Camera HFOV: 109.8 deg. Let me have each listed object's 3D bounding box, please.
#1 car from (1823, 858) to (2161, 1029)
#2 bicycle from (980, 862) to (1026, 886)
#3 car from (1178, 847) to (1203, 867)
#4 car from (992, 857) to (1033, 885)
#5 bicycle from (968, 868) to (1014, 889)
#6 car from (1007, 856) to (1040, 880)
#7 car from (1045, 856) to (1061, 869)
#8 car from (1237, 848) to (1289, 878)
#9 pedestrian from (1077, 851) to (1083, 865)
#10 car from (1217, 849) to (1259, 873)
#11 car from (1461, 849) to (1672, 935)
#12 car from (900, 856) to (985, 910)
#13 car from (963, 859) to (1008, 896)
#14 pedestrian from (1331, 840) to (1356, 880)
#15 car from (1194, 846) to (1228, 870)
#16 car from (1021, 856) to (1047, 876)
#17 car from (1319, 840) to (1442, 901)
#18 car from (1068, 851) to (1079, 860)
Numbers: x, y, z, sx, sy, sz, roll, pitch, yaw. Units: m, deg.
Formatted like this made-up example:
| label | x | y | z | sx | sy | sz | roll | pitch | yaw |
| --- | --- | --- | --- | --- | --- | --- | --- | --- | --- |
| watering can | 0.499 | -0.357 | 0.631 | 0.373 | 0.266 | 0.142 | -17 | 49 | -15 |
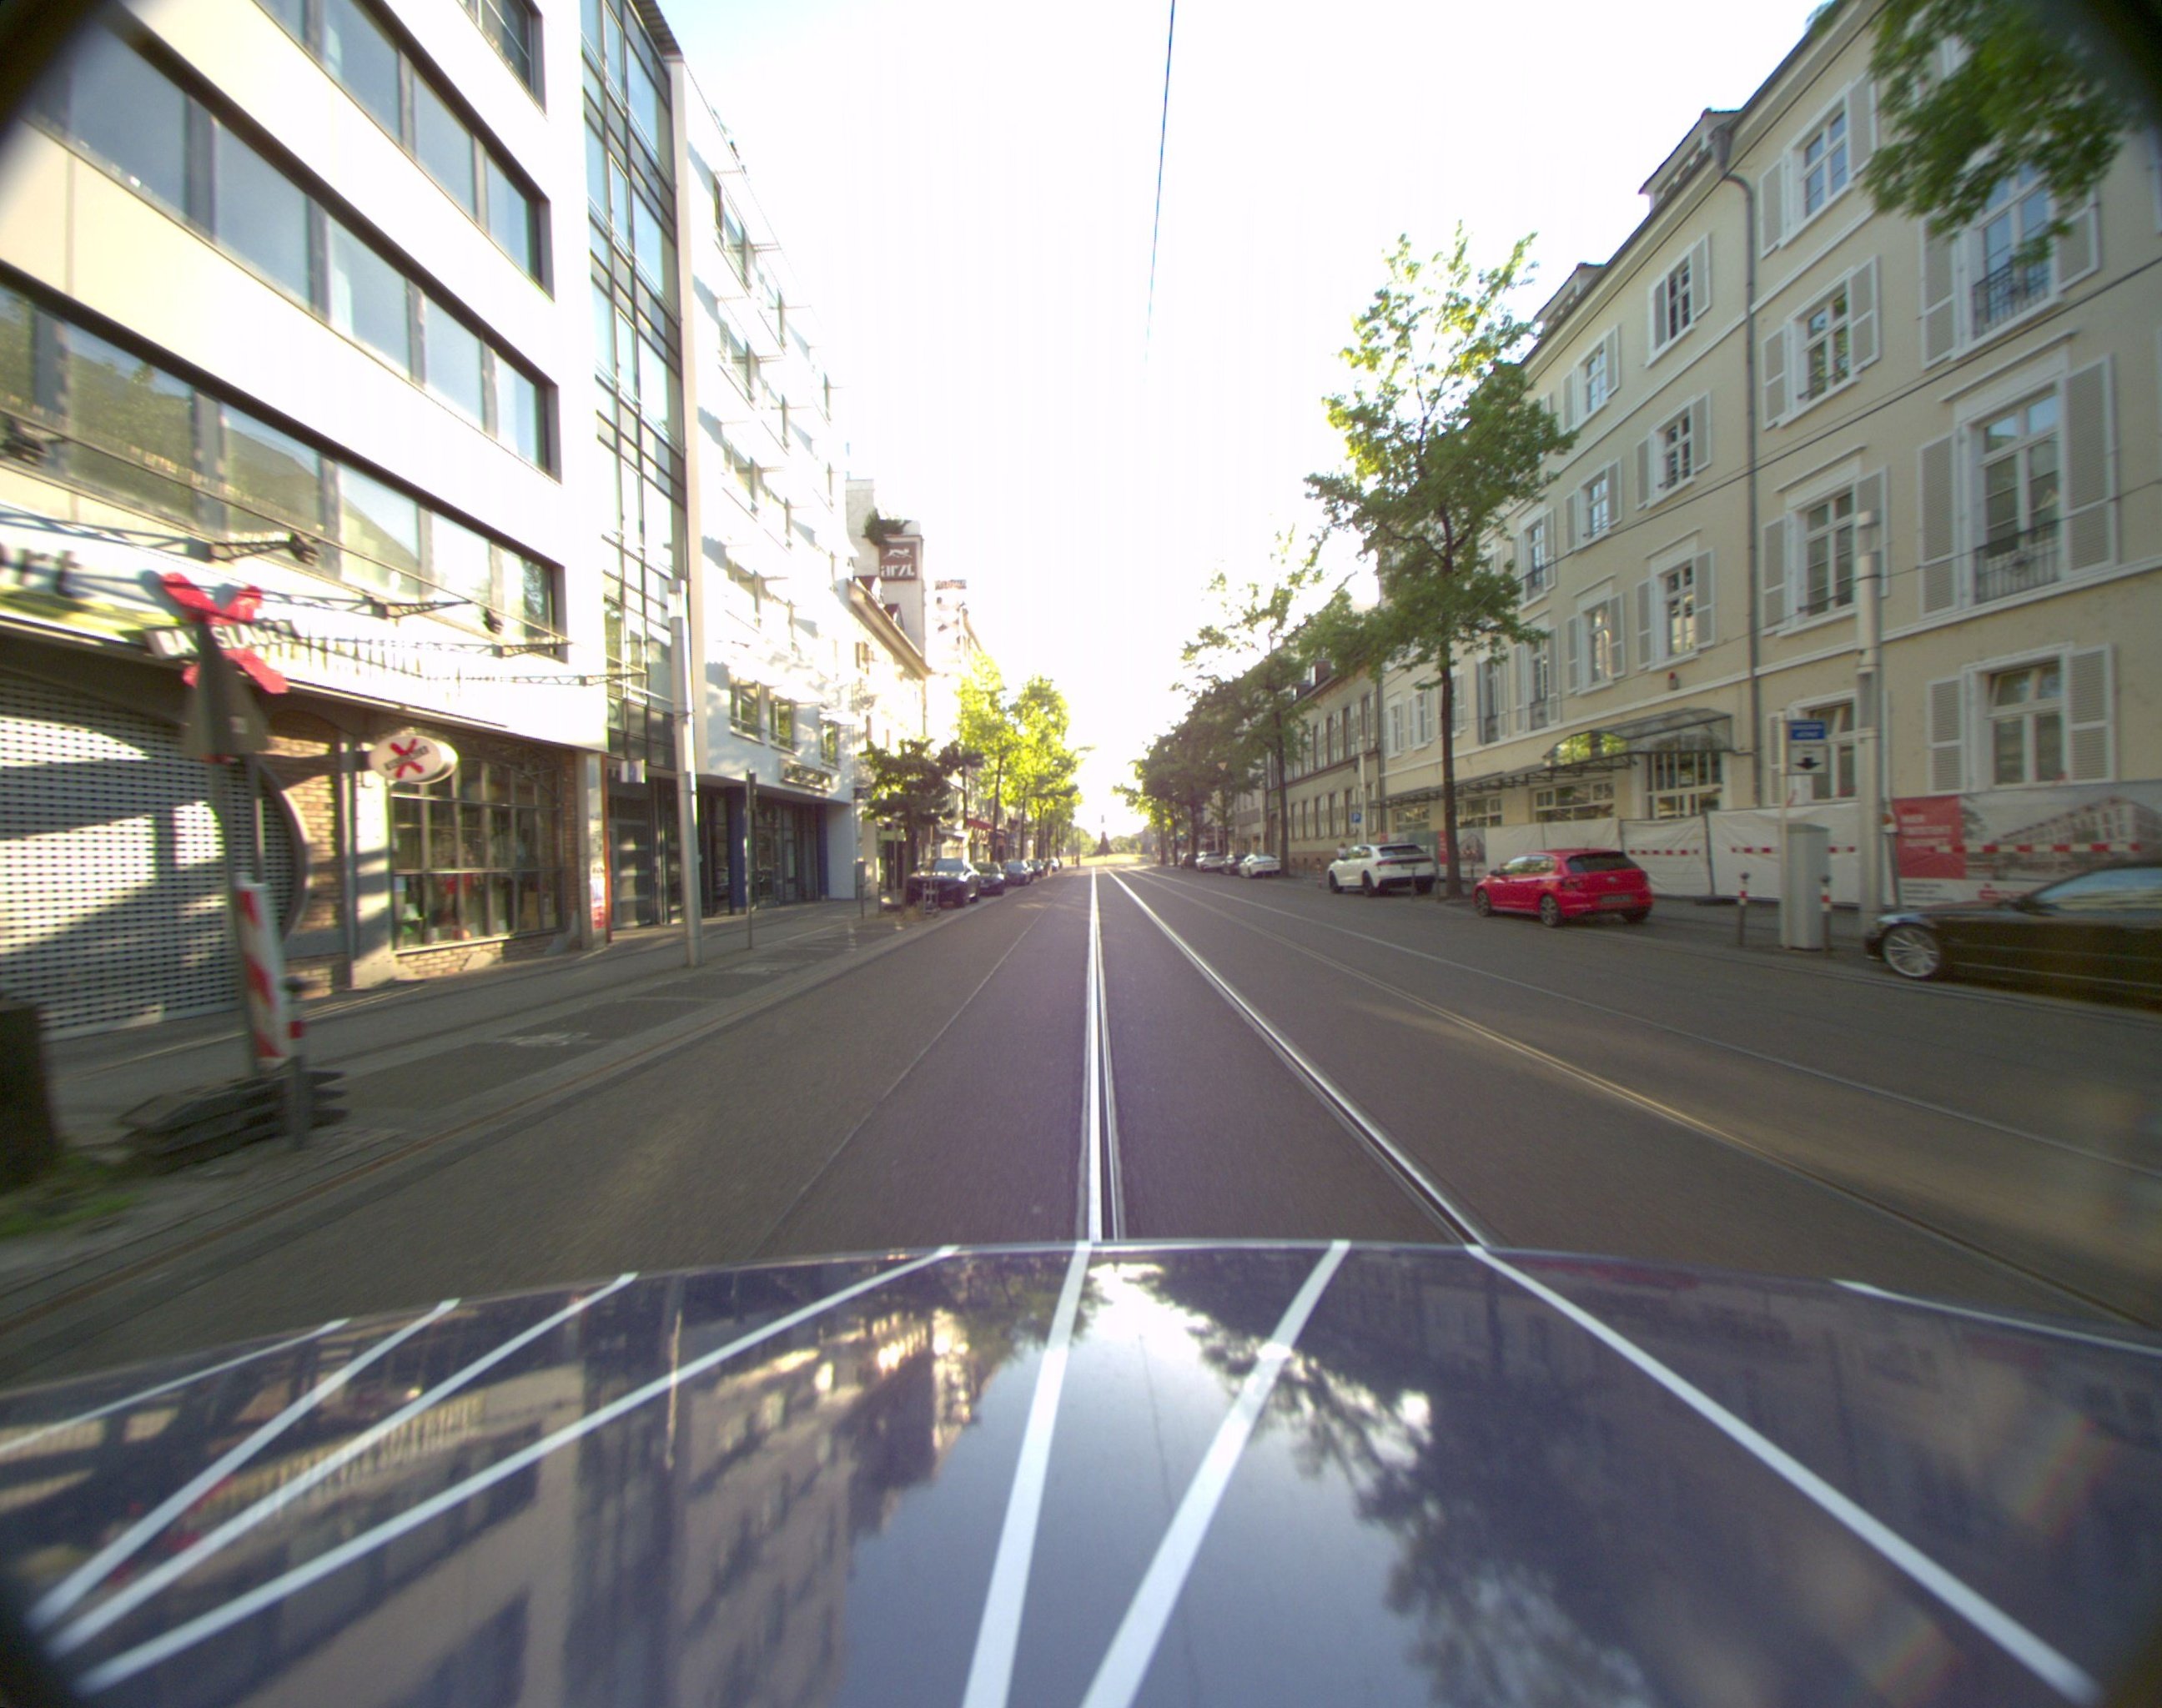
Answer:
| label | x | y | z | sx | sy | sz | roll | pitch | yaw |
| --- | --- | --- | --- | --- | --- | --- | --- | --- | --- |
| car | 9.647 | 0.745 | 6.725 | 1.722 | 1.238 | 4.507 | -5 | 0 | 1 |
| bicycle | -4.216 | 1.088 | 41.006 | 2.325 | 1.181 | 0.751 | -2 | 1 | 2 |
| car | 11.194 | 0.256 | 77.792 | 1.931 | 1.946 | 4.766 | -1 | 0 | 1 |
| car | -3.946 | 0.959 | 44.456 | 1.770 | 1.502 | 4.287 | -2 | 0 | 2 |
| bicycle | -4.643 | 1.264 | 39.173 | 2.249 | 0.982 | 0.615 | -2 | 1 | 2 |
| car | -3.923 | 0.936 | 52.761 | 1.869 | 1.502 | 4.287 | 1 | 0 | 1 |
| car | -3.167 | 0.896 | 85.626 | 1.564 | 1.391 | 3.698 | 1 | 0 | 1 |
| car | 10.330 | 0.488 | 43.564 | 1.897 | 1.458 | 4.617 | -5 | 0 | 2 |
| pedestrian | -0.116 | 0.524 | 99.910 | 0.705 | 1.858 | 0.792 | -2 | 1 | -1 |
| car | 10.575 | 0.457 | 51.325 | 1.745 | 1.458 | 4.342 | -5 | 0 | -1 |
| car | 9.603 | 0.668 | 15.477 | 1.664 | 1.397 | 4.141 | -5 | 0 | 2 |
| car | -4.712 | 0.922 | 26.646 | 1.985 | 1.679 | 4.874 | 1 | 0 | 1 |
| car | -4.314 | 1.008 | 34.495 | 1.871 | 1.502 | 4.242 | 1 | 0 | -7 |
| pedestrian | 12.019 | 0.271 | 34.809 | 0.746 | 1.732 | 0.933 | -4 | 1 | 2 |
| car | 10.727 | 0.320 | 62.922 | 1.952 | 1.731 | 4.766 | -5 | 0 | 1 |
| car | -3.778 | 0.930 | 61.427 | 1.798 | 1.502 | 3.986 | 1 | 0 | 1 |
| car | 9.770 | 0.482 | 25.251 | 1.870 | 1.679 | 4.950 | -5 | 0 | -2 |
| car | -1.313 | 0.316 | 137.779 | 1.827 | 1.603 | 3.796 | -2 | 0 | 2 |
